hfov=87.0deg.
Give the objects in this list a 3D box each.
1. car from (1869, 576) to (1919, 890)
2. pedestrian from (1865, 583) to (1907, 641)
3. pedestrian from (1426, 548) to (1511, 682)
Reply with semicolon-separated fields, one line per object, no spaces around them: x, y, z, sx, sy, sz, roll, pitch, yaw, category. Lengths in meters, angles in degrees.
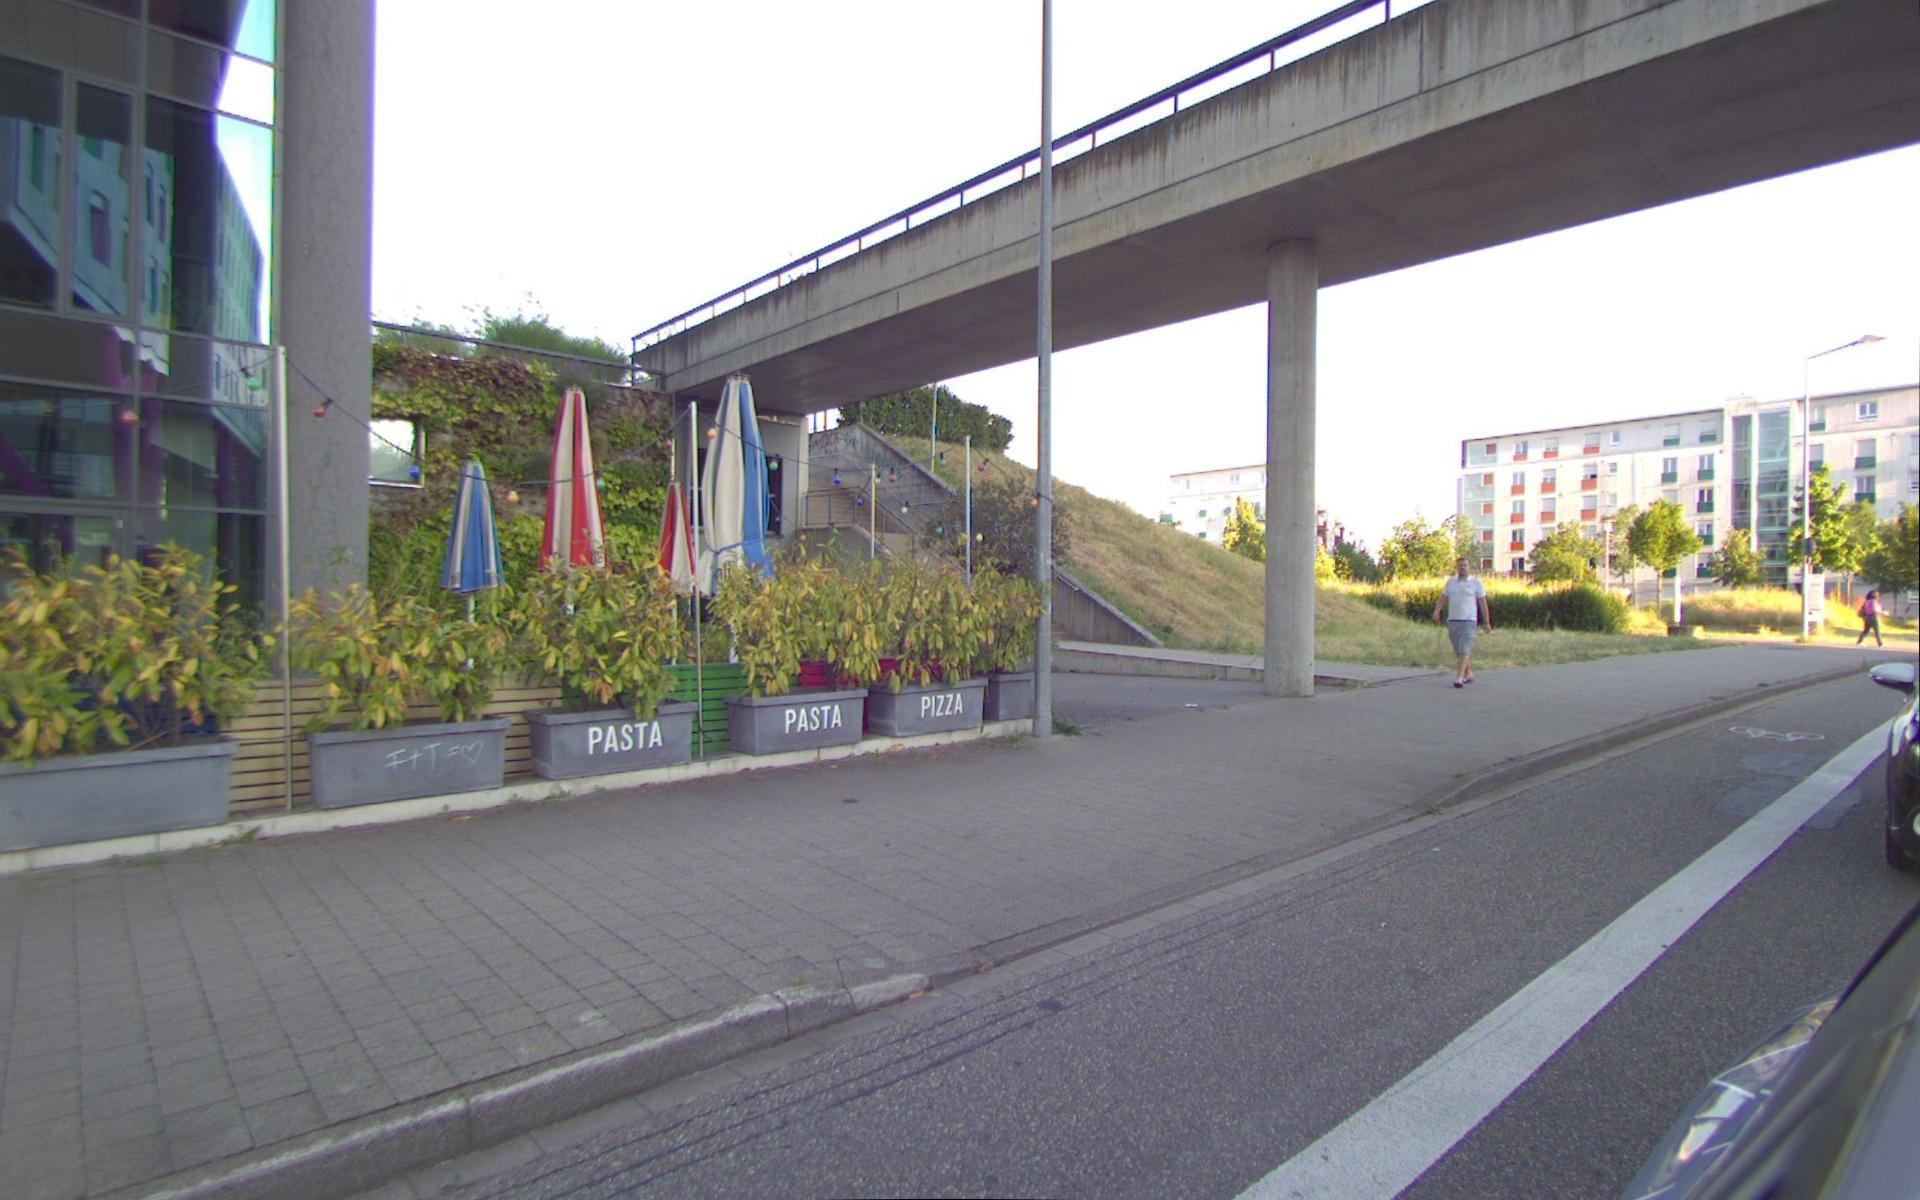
6.477;0.642;5.552;3.930;1.482;1.738;0;0;-41;car
27.024;0.335;29.521;0.844;1.650;0.737;1;2;-40;pedestrian
6.910;0.182;13.755;0.890;1.746;0.736;0;1;-42;pedestrian
